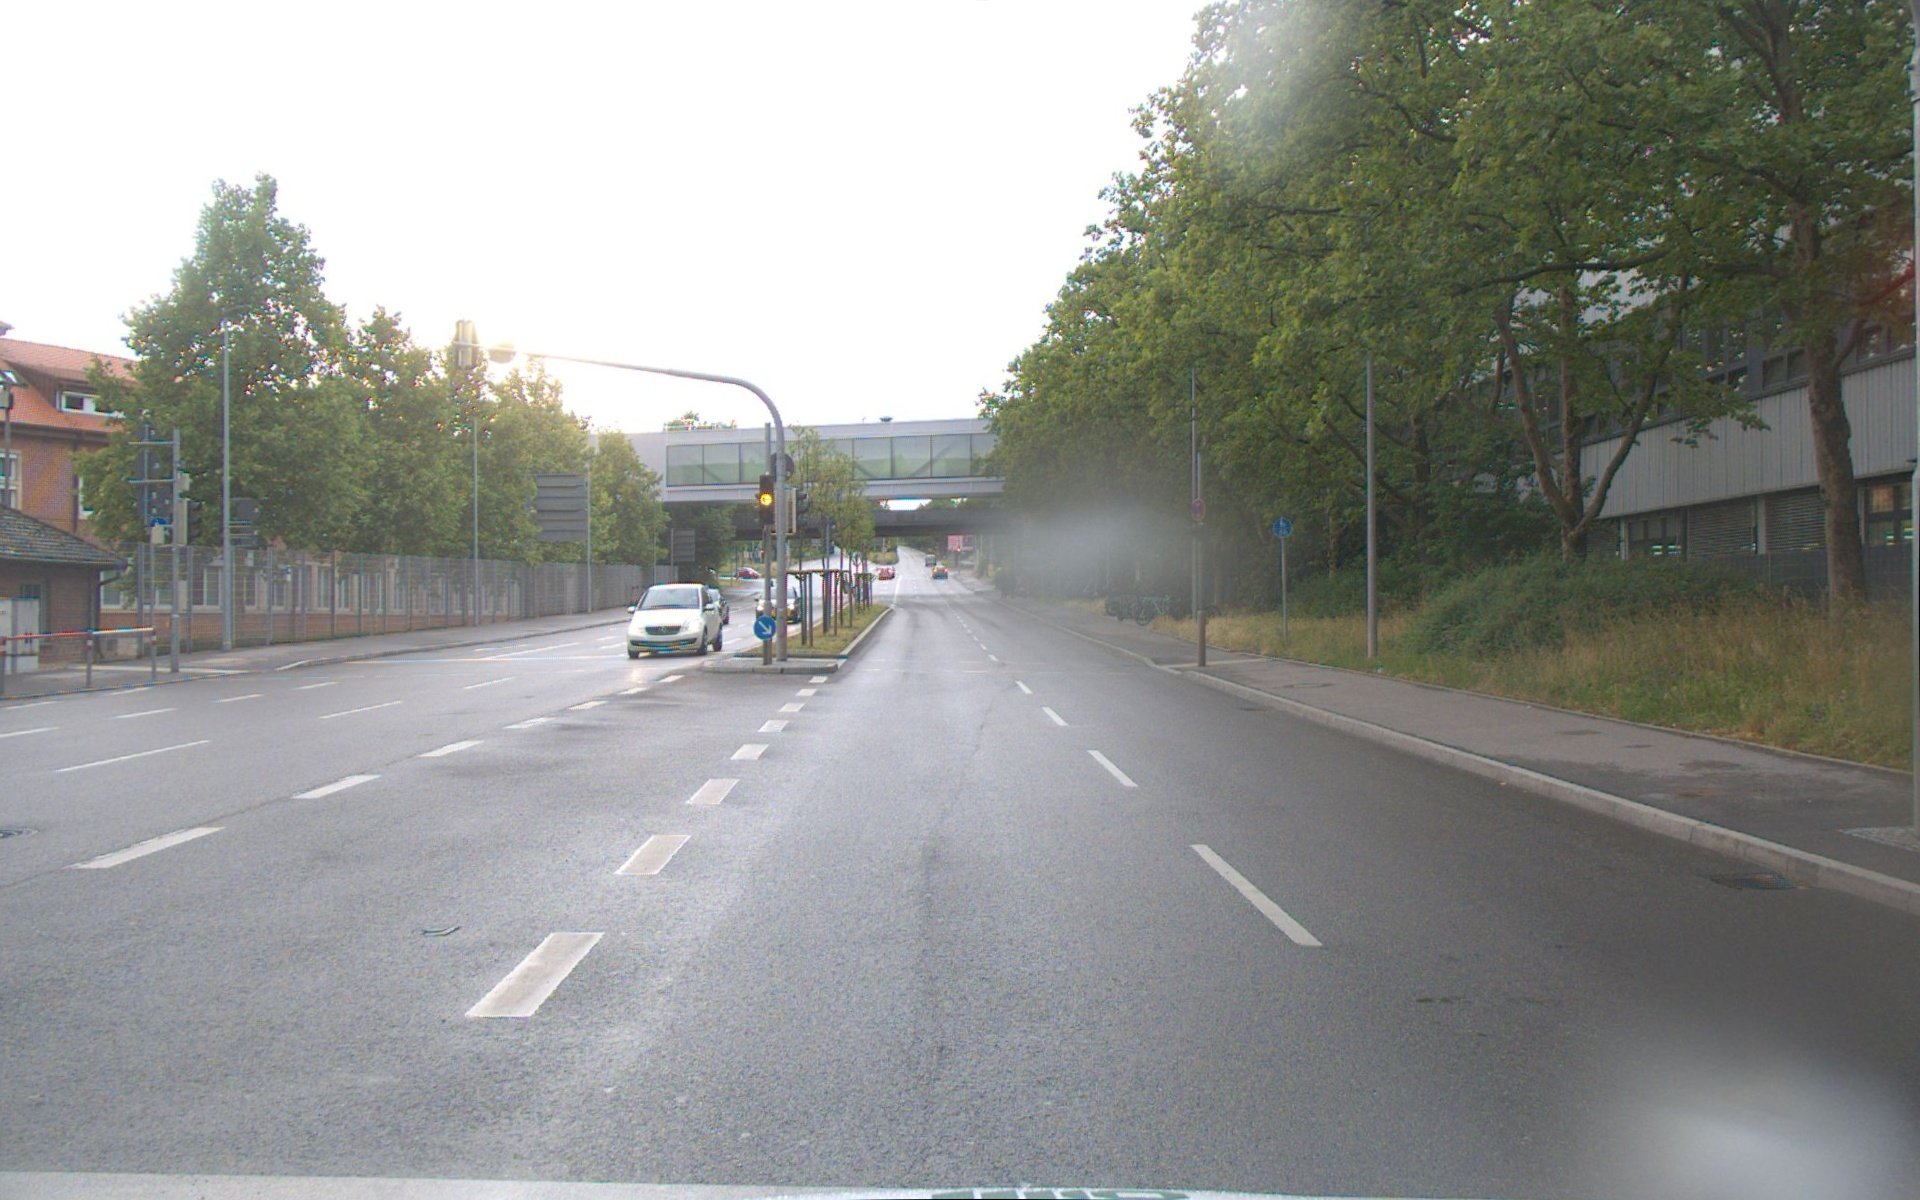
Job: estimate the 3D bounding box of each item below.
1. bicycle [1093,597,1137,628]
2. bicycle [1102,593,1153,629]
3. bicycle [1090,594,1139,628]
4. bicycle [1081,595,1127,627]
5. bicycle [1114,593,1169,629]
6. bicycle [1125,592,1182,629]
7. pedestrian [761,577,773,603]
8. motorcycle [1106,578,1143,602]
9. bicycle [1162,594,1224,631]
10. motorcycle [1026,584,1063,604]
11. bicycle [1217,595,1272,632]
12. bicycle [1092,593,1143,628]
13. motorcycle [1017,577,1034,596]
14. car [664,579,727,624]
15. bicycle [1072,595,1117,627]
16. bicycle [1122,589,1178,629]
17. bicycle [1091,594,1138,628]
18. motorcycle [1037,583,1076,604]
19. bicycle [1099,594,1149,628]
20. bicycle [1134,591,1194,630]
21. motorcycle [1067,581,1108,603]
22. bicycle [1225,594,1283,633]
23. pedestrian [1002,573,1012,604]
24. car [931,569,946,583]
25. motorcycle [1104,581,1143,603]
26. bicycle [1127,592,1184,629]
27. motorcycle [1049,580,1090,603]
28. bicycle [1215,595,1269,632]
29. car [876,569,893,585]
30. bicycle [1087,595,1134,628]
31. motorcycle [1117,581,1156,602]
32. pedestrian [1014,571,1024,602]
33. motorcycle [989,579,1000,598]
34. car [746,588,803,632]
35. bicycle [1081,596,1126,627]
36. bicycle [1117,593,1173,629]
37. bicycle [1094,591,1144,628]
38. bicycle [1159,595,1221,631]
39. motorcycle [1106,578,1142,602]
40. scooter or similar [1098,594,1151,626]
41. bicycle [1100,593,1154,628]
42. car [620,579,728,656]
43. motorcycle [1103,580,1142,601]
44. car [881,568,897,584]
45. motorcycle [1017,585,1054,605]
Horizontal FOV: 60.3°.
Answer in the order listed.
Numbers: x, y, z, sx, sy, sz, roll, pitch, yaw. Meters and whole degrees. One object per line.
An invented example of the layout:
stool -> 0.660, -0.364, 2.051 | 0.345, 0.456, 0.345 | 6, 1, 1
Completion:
bicycle -> 7.097, 0.564, 75.967 | 1.923, 1.352, 0.654 | 2, -1, 0
bicycle -> 6.592, 0.419, 65.159 | 1.949, 1.352, 0.576 | 2, -1, 0
bicycle -> 6.455, 0.467, 69.208 | 1.949, 1.352, 0.576 | 2, -1, 0
bicycle -> 6.339, 0.497, 72.735 | 1.923, 1.352, 0.654 | 2, -1, 0
bicycle -> 6.794, 0.414, 61.883 | 1.949, 1.263, 0.541 | 2, -1, 0
bicycle -> 6.938, 0.386, 59.378 | 1.949, 1.263, 0.541 | 2, -1, 0
pedestrian -> -15.696, -0.809, 134.645 | 0.855, 2.039, 0.854 | -1, 0, -5
motorcycle -> 10.685, -0.646, 107.199 | 2.318, 1.502, 0.723 | -1, 0, 7
bicycle -> 7.598, 0.412, 53.960 | 1.949, 1.114, 0.541 | 2, -1, 0
motorcycle -> 5.523, -0.382, 108.115 | 2.318, 1.223, 0.793 | -1, 0, 7
bicycle -> 10.790, 0.523, 62.757 | 1.949, 1.352, 0.576 | 2, -1, 0
bicycle -> 6.263, 0.418, 65.963 | 1.949, 1.352, 0.576 | 2, -1, 0
motorcycle -> 4.851, -1.002, 121.969 | 0.775, 1.334, 2.371 | -1, 0, -9
car -> -10.207, 0.045, 64.012 | 1.839, 1.653, 3.778 | -1, 0, -1
bicycle -> 6.001, 0.498, 73.643 | 1.923, 1.352, 0.654 | 2, -1, 0
bicycle -> 6.918, 0.329, 60.245 | 1.949, 1.364, 0.541 | 2, -1, 0
bicycle -> 6.574, 0.475, 70.447 | 1.920, 1.352, 0.576 | 2, -1, 0
motorcycle -> 5.911, -0.376, 101.623 | 2.318, 1.223, 0.723 | -1, 0, 7
bicycle -> 6.786, 0.456, 68.502 | 1.949, 1.352, 0.576 | 2, -1, 0
bicycle -> 6.901, 0.353, 55.977 | 1.949, 1.237, 0.541 | 2, -1, 0
motorcycle -> 7.482, -0.478, 96.909 | 2.318, 1.223, 0.723 | -1, 0, 7
bicycle -> 10.663, 0.483, 59.998 | 1.949, 1.352, 0.576 | 2, -1, 0
pedestrian -> 3.162, -0.791, 110.988 | 0.609, 2.049, 0.605 | -1, 0, -1
car -> -2.648, -2.931, 202.886 | 1.837, 1.523, 4.067 | 2, -1, -1
motorcycle -> 9.927, -0.480, 100.323 | 2.318, 1.223, 0.723 | -1, 0, 7
bicycle -> 6.938, 0.378, 58.790 | 1.949, 1.263, 0.541 | 2, -1, 0
motorcycle -> 6.318, -0.497, 95.416 | 2.318, 1.223, 0.723 | -1, 0, 7
bicycle -> 10.794, 0.531, 63.405 | 1.949, 1.352, 0.576 | 2, -1, 0
car -> -9.394, -2.904, 206.579 | 1.953, 1.792, 3.999 | 2, -1, -1
bicycle -> 6.479, 0.481, 71.135 | 1.923, 1.352, 0.654 | 2, -1, 0
motorcycle -> 10.598, -0.514, 99.176 | 2.318, 1.223, 0.723 | -1, 0, 7
pedestrian -> 3.954, -0.898, 110.876 | 0.609, 2.049, 0.605 | -1, 0, -1
motorcycle -> 2.993, -1.003, 144.422 | 0.774, 1.560, 2.375 | -1, 0, -2
car -> -7.309, 0.368, 65.485 | 1.839, 1.653, 3.778 | -1, 0, -1
bicycle -> 6.440, 0.523, 74.454 | 1.923, 1.352, 0.654 | 2, -1, 0
bicycle -> 6.812, 0.402, 60.934 | 1.949, 1.263, 0.541 | 2, -1, 0
bicycle -> 6.505, 0.384, 67.644 | 1.949, 1.455, 0.723 | 2, -1, 0
bicycle -> 7.590, 0.419, 54.528 | 1.949, 1.114, 0.541 | 2, -1, 0
motorcycle -> 10.771, -0.673, 108.435 | 2.318, 1.502, 0.723 | -1, 0, 7
scooter or similar -> 6.358, 0.397, 63.895 | 1.949, 1.157, 0.541 | 2, -1, 0
bicycle -> 6.384, 0.419, 63.250 | 1.949, 1.263, 0.541 | 2, -1, 0
car -> -6.518, 0.373, 38.022 | 1.839, 1.653, 3.778 | -1, 0, -1
motorcycle -> 9.941, -0.583, 101.218 | 2.318, 1.223, 0.723 | -1, 0, 7
car -> -9.063, -3.066, 211.220 | 1.846, 1.792, 3.968 | 2, -1, -1
motorcycle -> 4.842, -0.344, 105.875 | 2.318, 1.223, 0.723 | -1, 0, 7
